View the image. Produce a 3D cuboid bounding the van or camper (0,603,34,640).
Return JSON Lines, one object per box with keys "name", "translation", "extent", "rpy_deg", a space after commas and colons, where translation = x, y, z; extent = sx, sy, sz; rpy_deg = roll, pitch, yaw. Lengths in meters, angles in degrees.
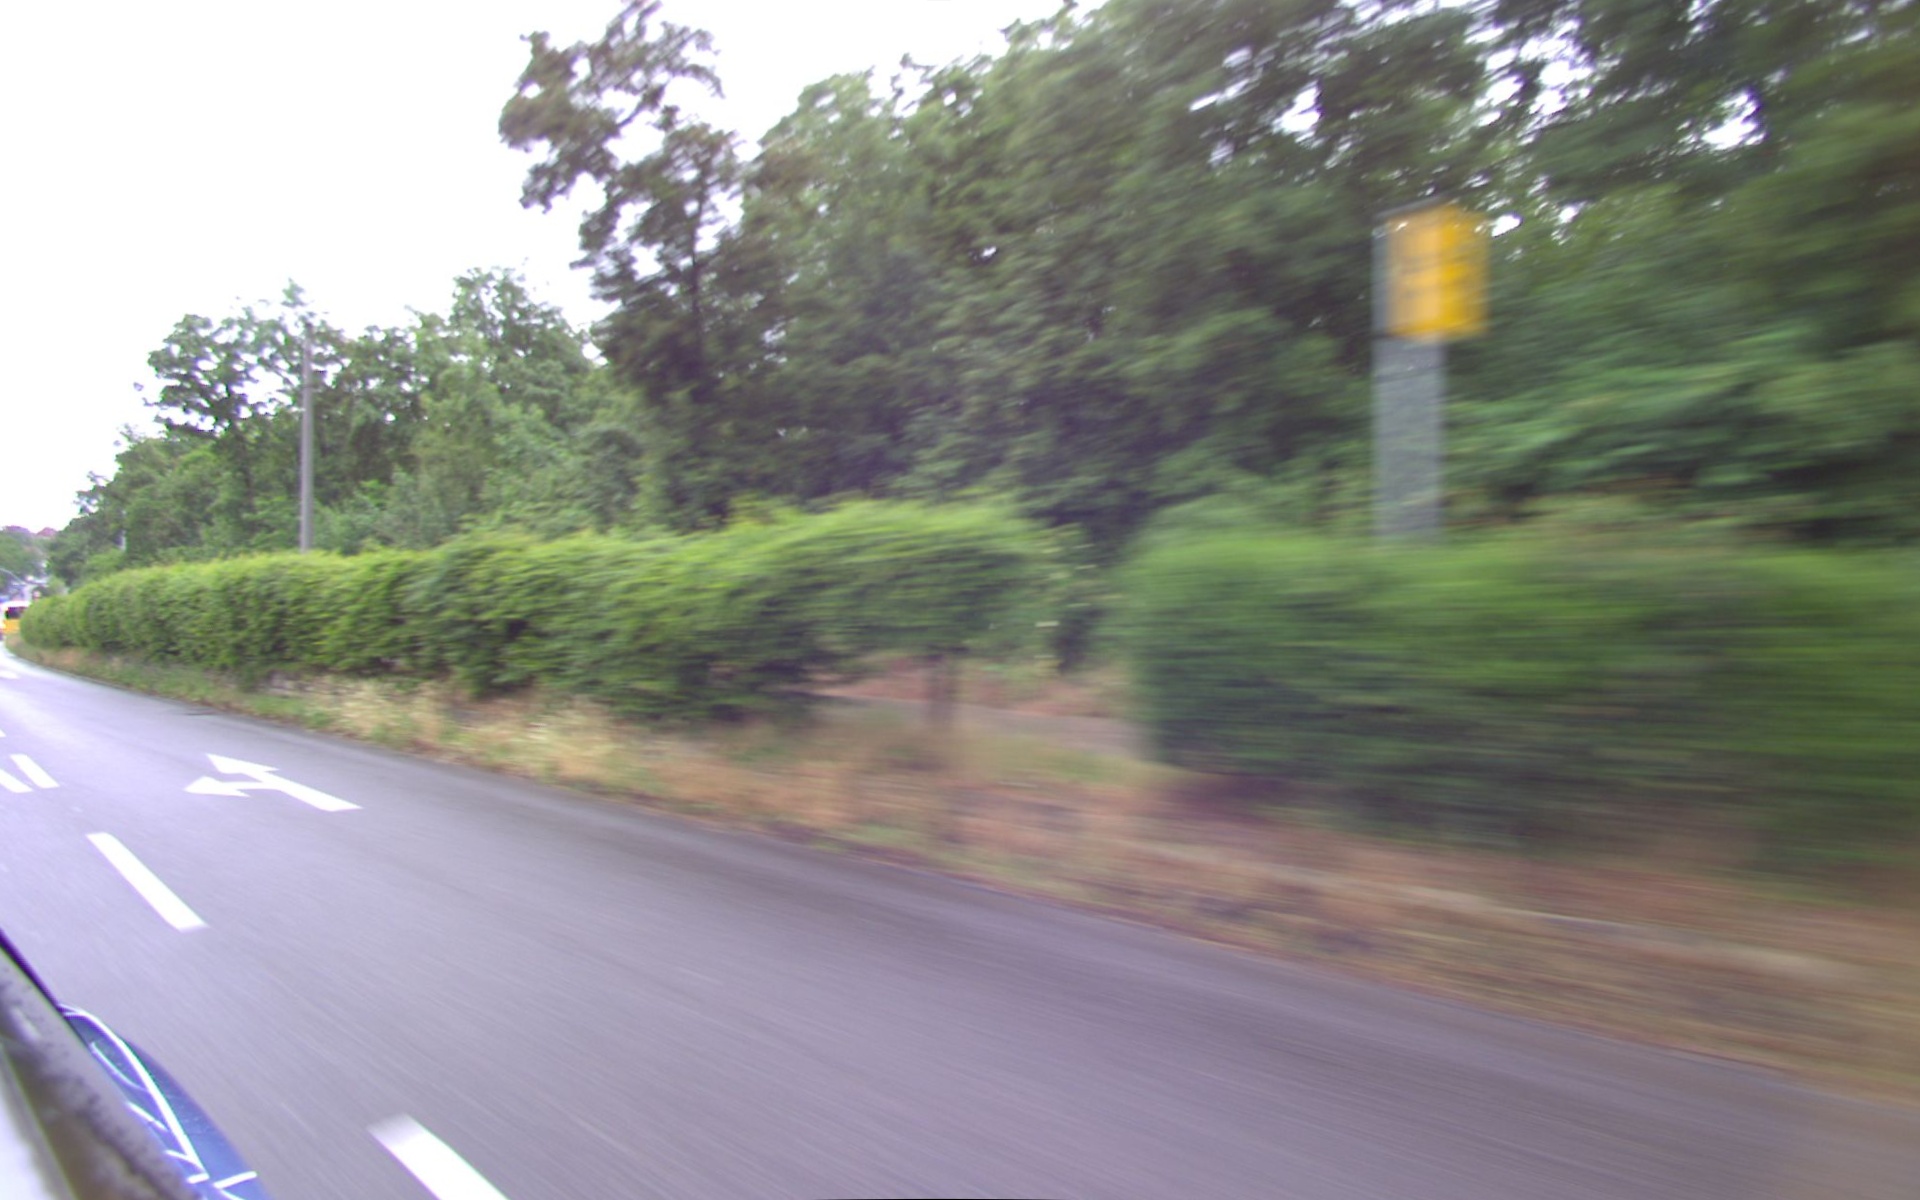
{"name": "van or camper", "translation": [-87.834, 1.961, 93.892], "extent": [2.697, 3.251, 6.984], "rpy_deg": [-1, 0, -42]}
